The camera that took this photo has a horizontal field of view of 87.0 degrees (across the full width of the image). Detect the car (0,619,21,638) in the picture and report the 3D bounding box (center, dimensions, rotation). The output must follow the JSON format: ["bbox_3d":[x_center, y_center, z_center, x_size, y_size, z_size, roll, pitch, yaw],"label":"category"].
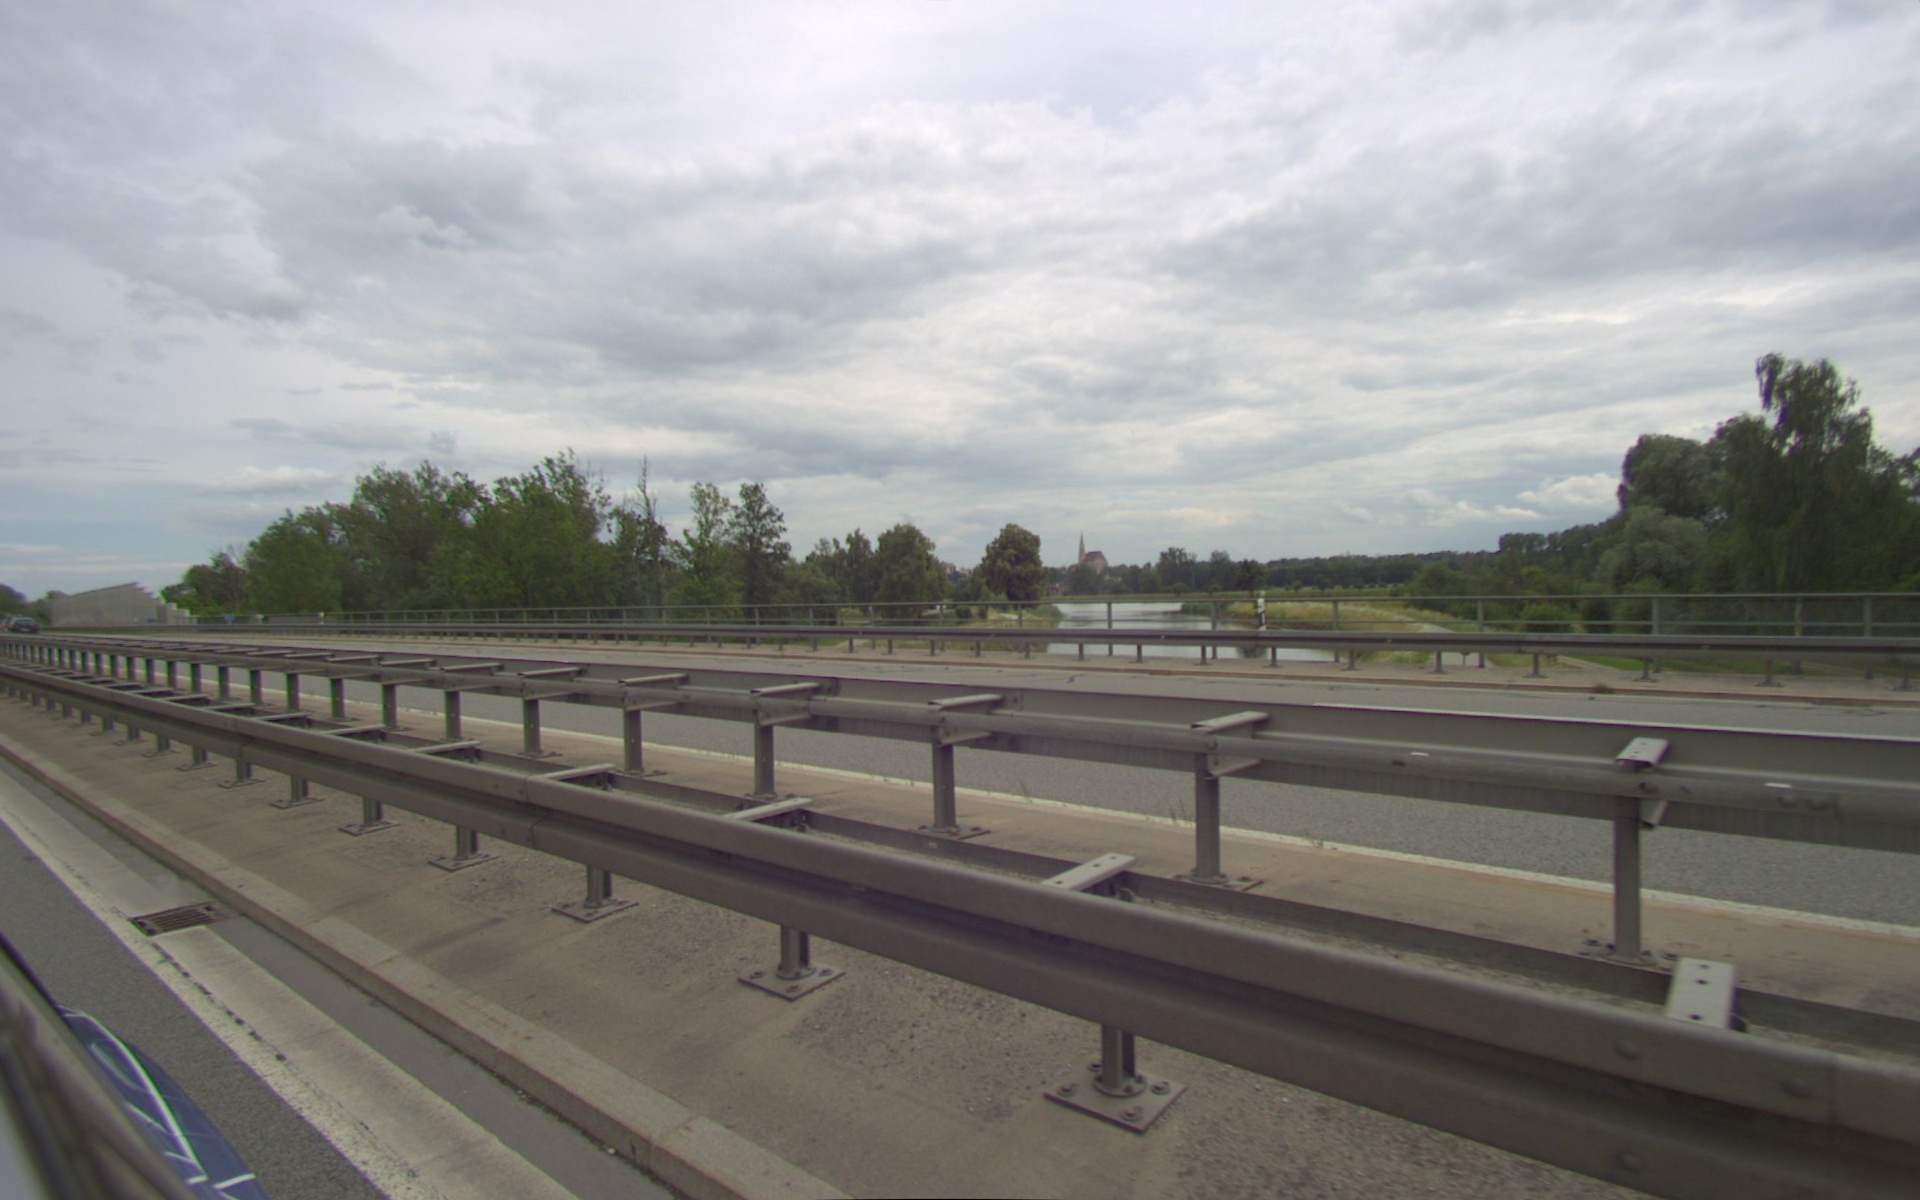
[{"bbox_3d":[-94.299,2.832,99.921,4.943,1.774,1.949,-2,-1,42],"label":"car"}]

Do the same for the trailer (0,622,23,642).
[{"bbox_3d":[-91.199,3.072,97.073,3.375,1.761,1.630,-2,0,42],"label":"trailer"}]

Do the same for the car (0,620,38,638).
[{"bbox_3d":[-75.477,2.315,81.072,4.708,1.414,1.949,-2,-2,42],"label":"car"}]
